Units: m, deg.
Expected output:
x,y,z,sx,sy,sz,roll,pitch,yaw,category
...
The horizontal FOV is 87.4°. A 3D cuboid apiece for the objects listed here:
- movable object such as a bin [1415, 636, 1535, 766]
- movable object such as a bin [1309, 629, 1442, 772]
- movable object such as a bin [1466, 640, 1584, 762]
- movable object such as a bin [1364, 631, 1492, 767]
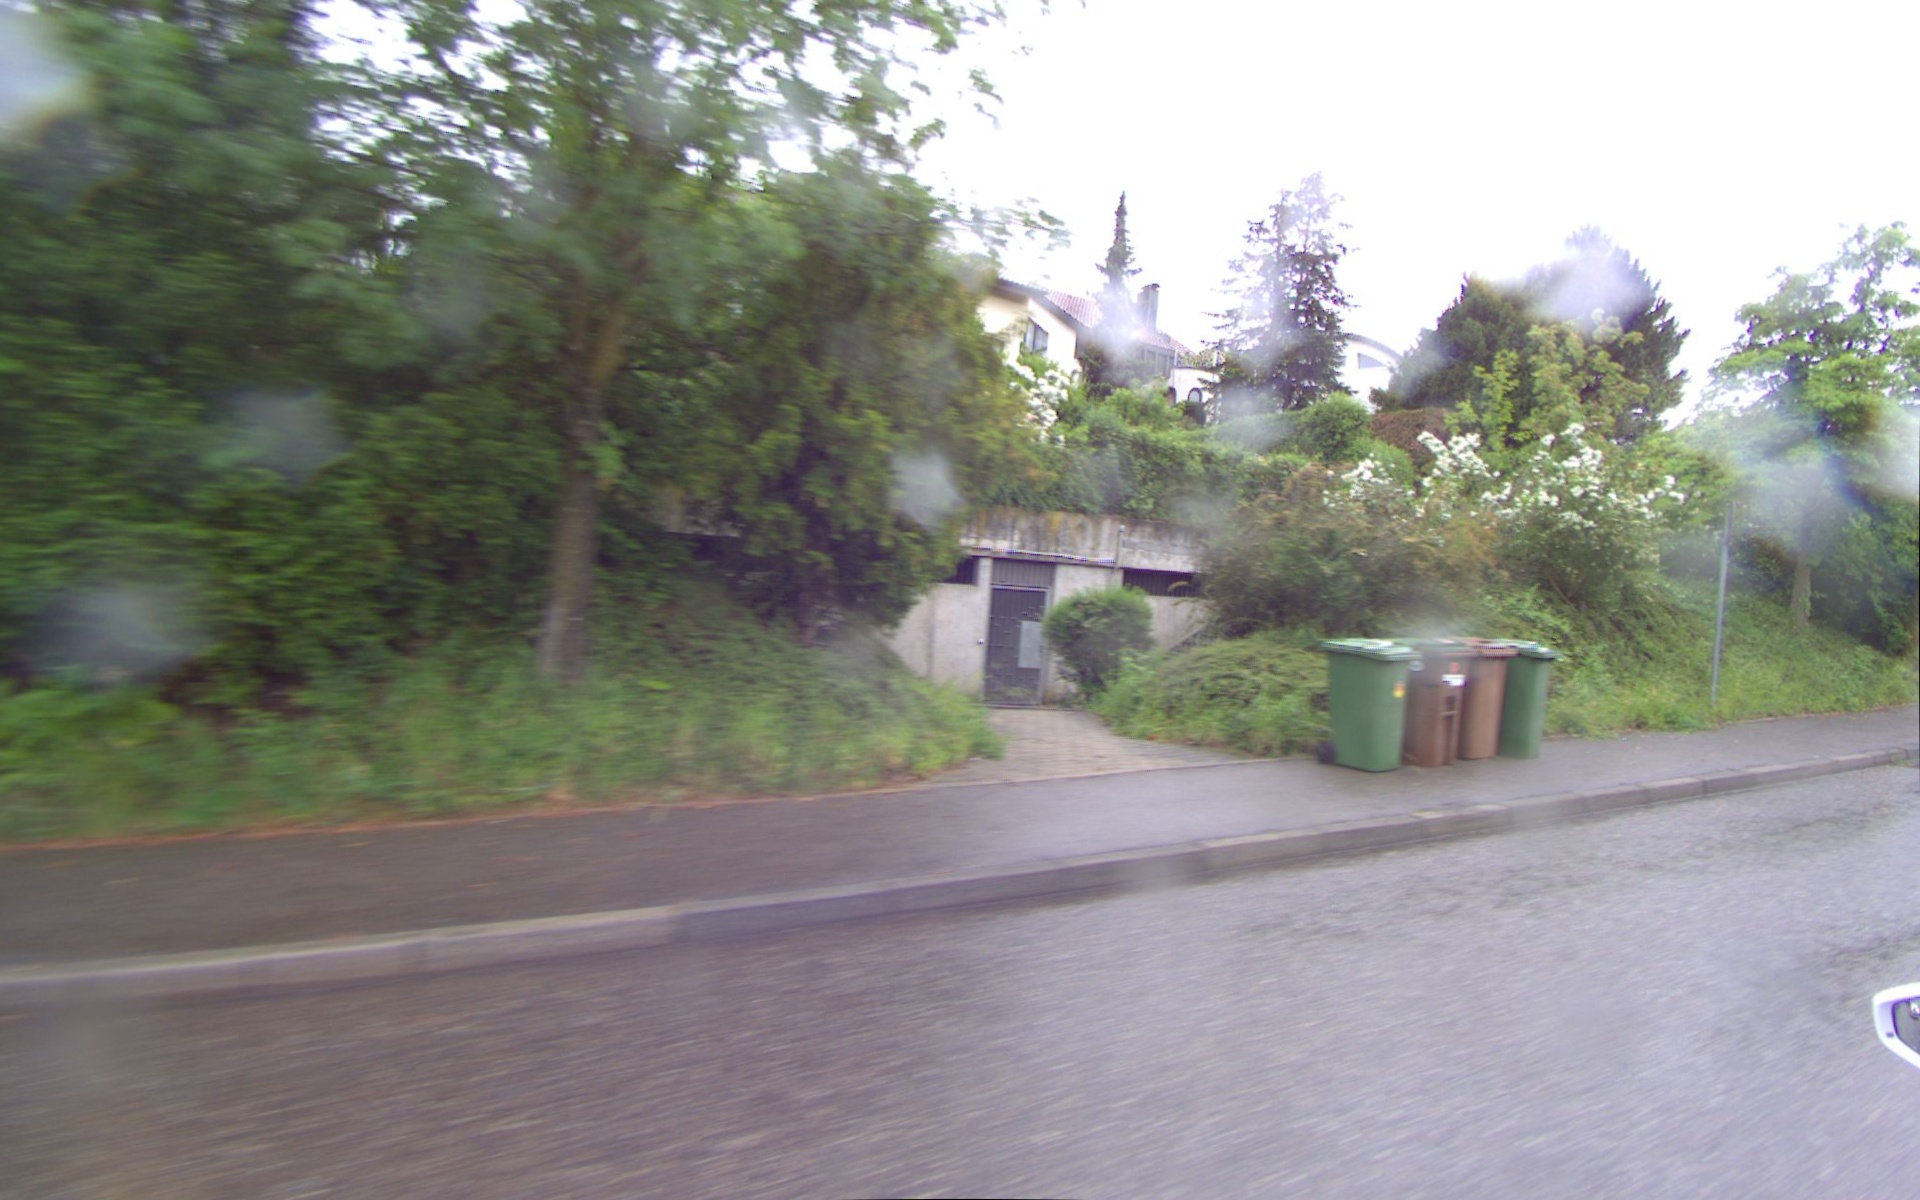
x,y,z,sx,sy,sz,roll,pitch,yaw,category
4.760,0.906,9.299,0.665,1.111,0.763,2,-1,-36,movable object such as a bin
3.506,0.818,8.495,0.731,1.111,0.763,2,-1,-36,movable object such as a bin
5.407,0.942,9.623,0.684,1.082,0.763,2,-1,-36,movable object such as a bin
4.145,0.845,8.903,0.731,1.111,0.763,2,-1,-36,movable object such as a bin
